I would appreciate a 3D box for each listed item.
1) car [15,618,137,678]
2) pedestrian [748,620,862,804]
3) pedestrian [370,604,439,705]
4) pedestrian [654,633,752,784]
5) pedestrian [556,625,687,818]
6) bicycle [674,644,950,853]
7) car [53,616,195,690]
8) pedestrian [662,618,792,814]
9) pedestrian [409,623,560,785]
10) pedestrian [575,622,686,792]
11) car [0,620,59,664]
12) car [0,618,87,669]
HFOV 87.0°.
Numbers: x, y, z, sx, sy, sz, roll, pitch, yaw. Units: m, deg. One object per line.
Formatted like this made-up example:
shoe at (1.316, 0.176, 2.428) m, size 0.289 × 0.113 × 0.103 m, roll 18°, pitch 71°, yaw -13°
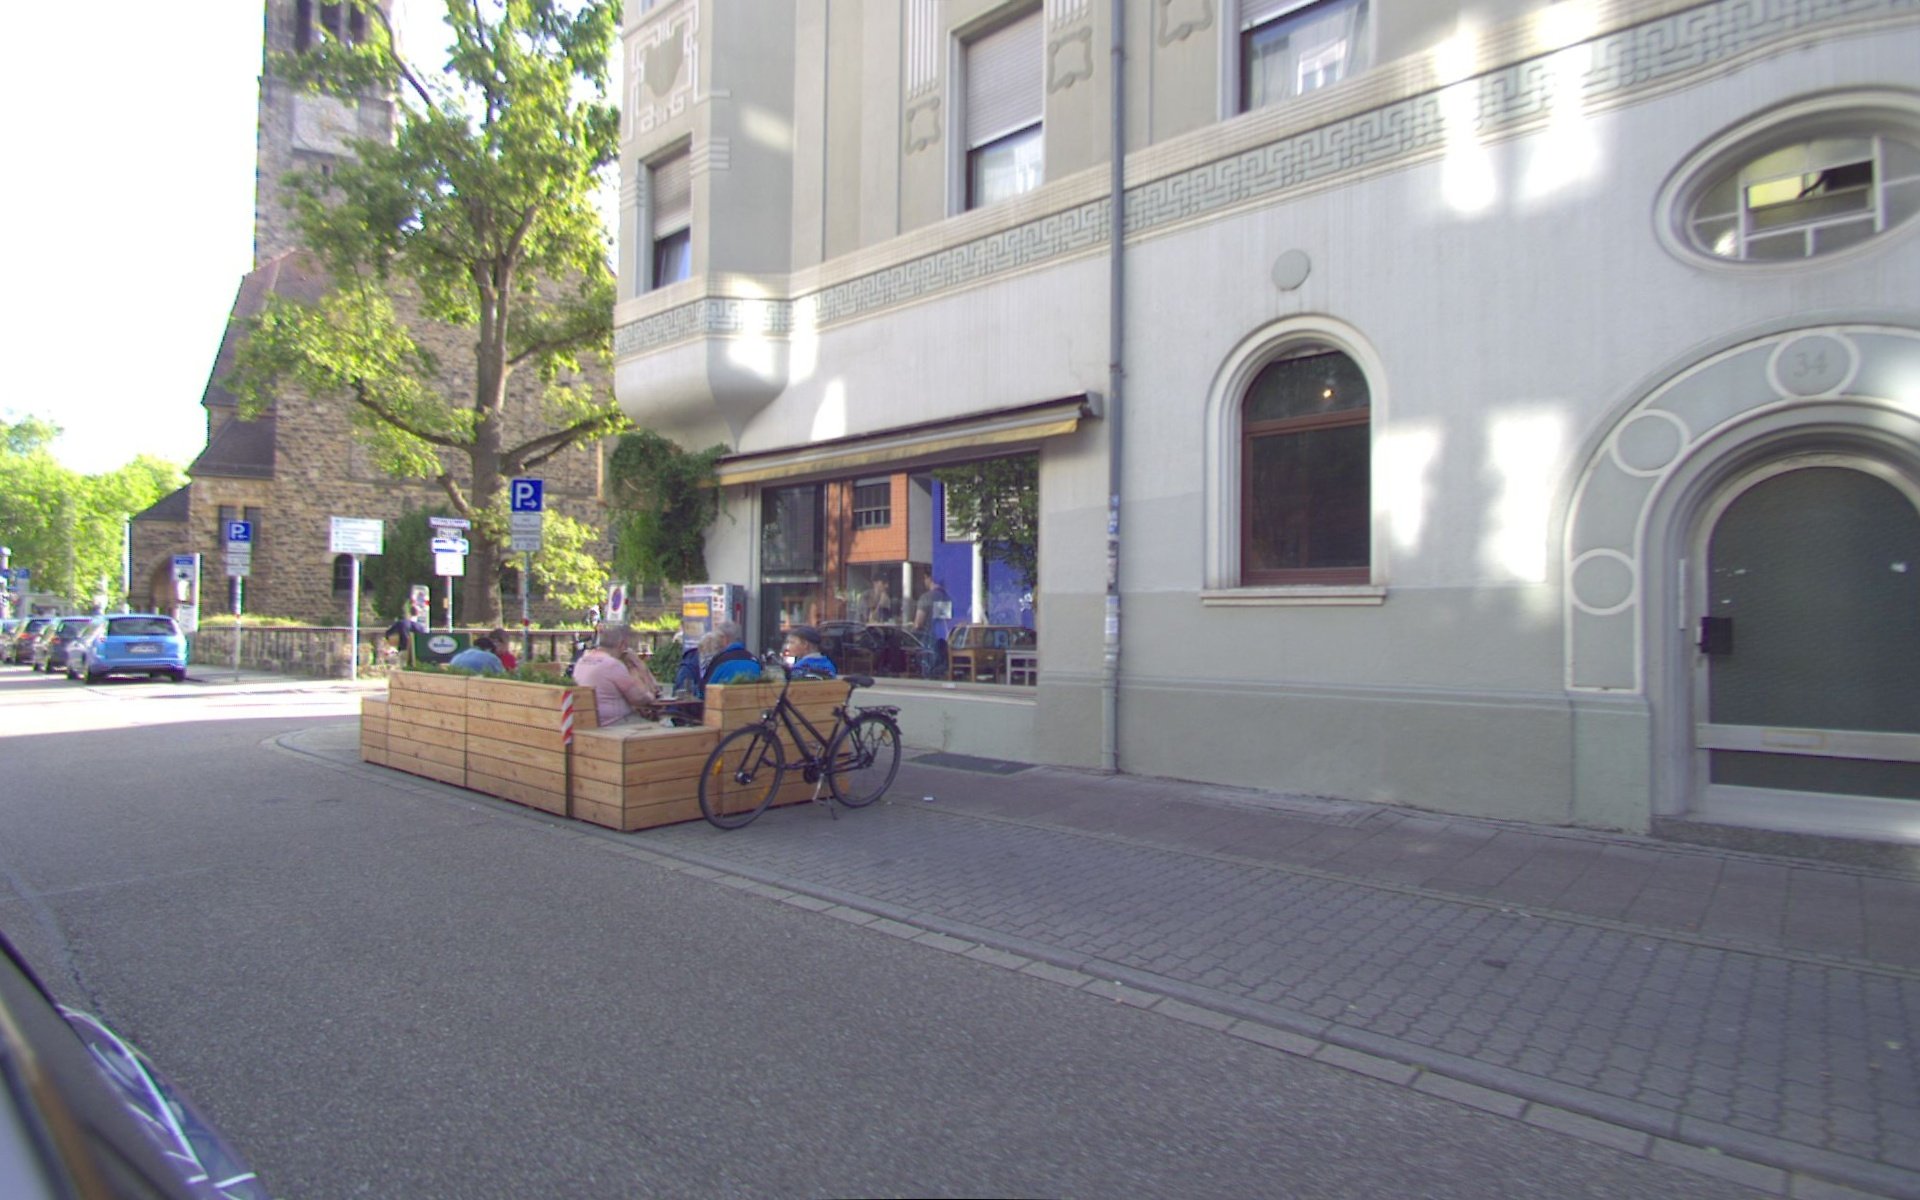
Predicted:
car at (-23.235, 1.207, 26.560) m, size 3.998 × 1.431 × 1.886 m, roll -1°, pitch -1°, yaw 41°
pedestrian at (-1.247, 0.856, 8.123) m, size 0.684 × 1.383 × 0.628 m, roll -1°, pitch -1°, yaw 45°
pedestrian at (-9.863, 0.947, 17.973) m, size 0.879 × 1.722 × 0.834 m, roll -1°, pitch -1°, yaw 41°
pedestrian at (-2.289, 0.927, 8.993) m, size 0.589 × 1.253 × 0.694 m, roll 1°, pitch -1°, yaw -42°
pedestrian at (-2.556, 0.870, 7.650) m, size 0.644 × 1.359 × 0.729 m, roll -1°, pitch -1°, yaw 44°
bicycle at (-0.951, 0.918, 6.909) m, size 0.688 × 1.184 × 1.848 m, roll -1°, pitch -1°, yaw 43°
car at (-18.672, 1.107, 22.538) m, size 4.168 × 1.497 × 1.804 m, roll -1°, pitch -1°, yaw 41°
pedestrian at (-1.768, 0.828, 7.680) m, size 0.740 × 1.383 × 0.680 m, roll -1°, pitch -1°, yaw 45°
pedestrian at (-4.440, 0.916, 9.448) m, size 1.073 × 1.383 × 0.896 m, roll 1°, pitch -1°, yaw -41°
pedestrian at (-2.798, 0.865, 8.589) m, size 0.658 × 1.346 × 0.740 m, roll 1°, pitch -1°, yaw -42°
car at (-33.026, 1.433, 35.325) m, size 3.998 × 1.431 × 1.886 m, roll -1°, pitch -1°, yaw 41°
car at (-28.117, 1.287, 30.753) m, size 3.998 × 1.431 × 1.886 m, roll -1°, pitch -1°, yaw 41°
